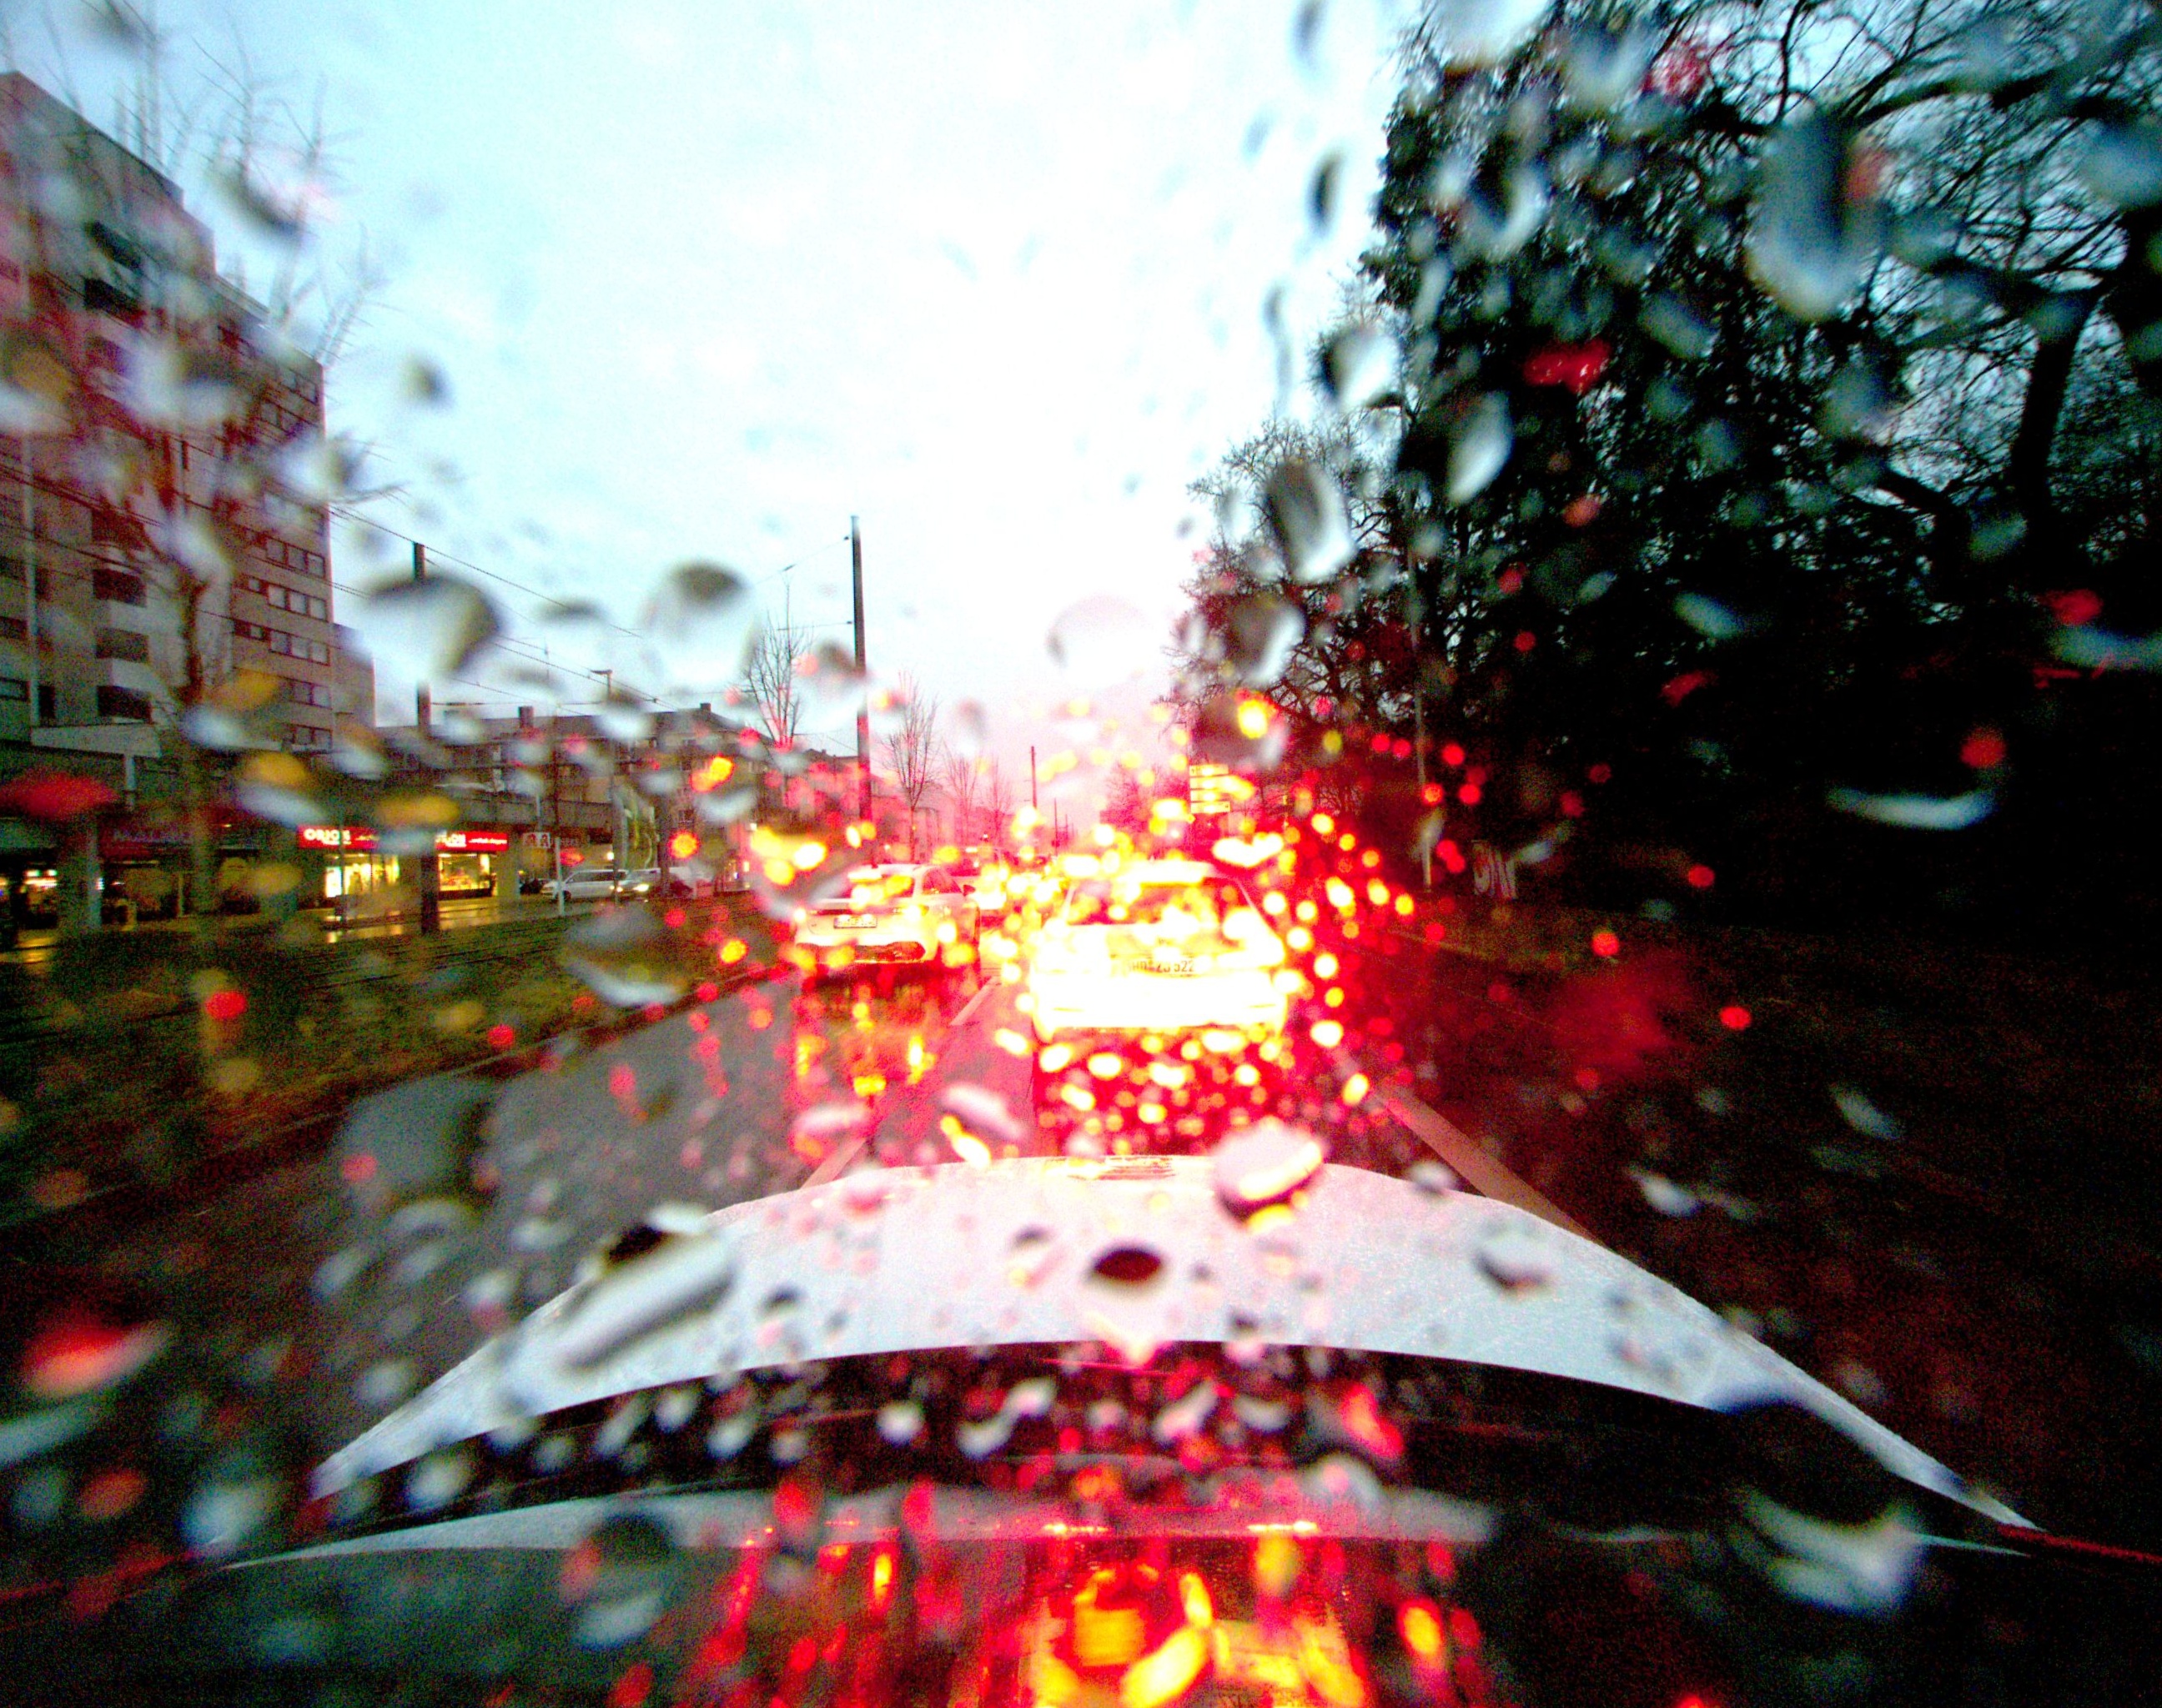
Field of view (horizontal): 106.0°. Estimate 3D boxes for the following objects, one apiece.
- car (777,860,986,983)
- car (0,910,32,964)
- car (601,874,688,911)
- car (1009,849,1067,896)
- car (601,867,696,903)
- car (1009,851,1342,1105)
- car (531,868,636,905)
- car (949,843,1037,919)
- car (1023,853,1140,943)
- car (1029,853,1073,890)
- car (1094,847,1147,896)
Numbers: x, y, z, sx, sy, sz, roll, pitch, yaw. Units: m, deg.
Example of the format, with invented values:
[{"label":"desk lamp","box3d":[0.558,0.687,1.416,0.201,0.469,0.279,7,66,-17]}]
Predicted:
[{"label":"car","box3d":[-2.622,0.807,11.913,1.840,1.405,4.614,-1,0,1]},{"label":"car","box3d":[-31.590,2.308,21.707,4.015,1.387,1.916,1,-1,-34]},{"label":"car","box3d":[-22.687,1.971,42.506,1.889,1.634,4.582,-2,0,2]},{"label":"car","box3d":[-1.568,0.652,30.980,1.800,1.646,4.002,-1,0,2]},{"label":"car","box3d":[-26.861,1.882,50.763,1.977,1.912,5.189,-3,0,19]},{"label":"car","box3d":[0.640,0.754,7.056,1.992,1.508,4.165,-1,0,2]},{"label":"car","box3d":[-30.675,1.959,50.340,5.193,1.912,1.975,-3,0,-44]},{"label":"car","box3d":[-2.176,0.643,21.239,1.788,1.736,4.536,-1,0,0]},{"label":"car","box3d":[0.077,0.726,15.681,1.928,1.457,4.165,-1,0,2]},{"label":"car","box3d":[-1.413,0.811,39.364,1.800,1.646,4.002,-1,0,2]},{"label":"car","box3d":[1.434,0.605,30.269,1.800,1.646,4.002,-1,0,2]}]
